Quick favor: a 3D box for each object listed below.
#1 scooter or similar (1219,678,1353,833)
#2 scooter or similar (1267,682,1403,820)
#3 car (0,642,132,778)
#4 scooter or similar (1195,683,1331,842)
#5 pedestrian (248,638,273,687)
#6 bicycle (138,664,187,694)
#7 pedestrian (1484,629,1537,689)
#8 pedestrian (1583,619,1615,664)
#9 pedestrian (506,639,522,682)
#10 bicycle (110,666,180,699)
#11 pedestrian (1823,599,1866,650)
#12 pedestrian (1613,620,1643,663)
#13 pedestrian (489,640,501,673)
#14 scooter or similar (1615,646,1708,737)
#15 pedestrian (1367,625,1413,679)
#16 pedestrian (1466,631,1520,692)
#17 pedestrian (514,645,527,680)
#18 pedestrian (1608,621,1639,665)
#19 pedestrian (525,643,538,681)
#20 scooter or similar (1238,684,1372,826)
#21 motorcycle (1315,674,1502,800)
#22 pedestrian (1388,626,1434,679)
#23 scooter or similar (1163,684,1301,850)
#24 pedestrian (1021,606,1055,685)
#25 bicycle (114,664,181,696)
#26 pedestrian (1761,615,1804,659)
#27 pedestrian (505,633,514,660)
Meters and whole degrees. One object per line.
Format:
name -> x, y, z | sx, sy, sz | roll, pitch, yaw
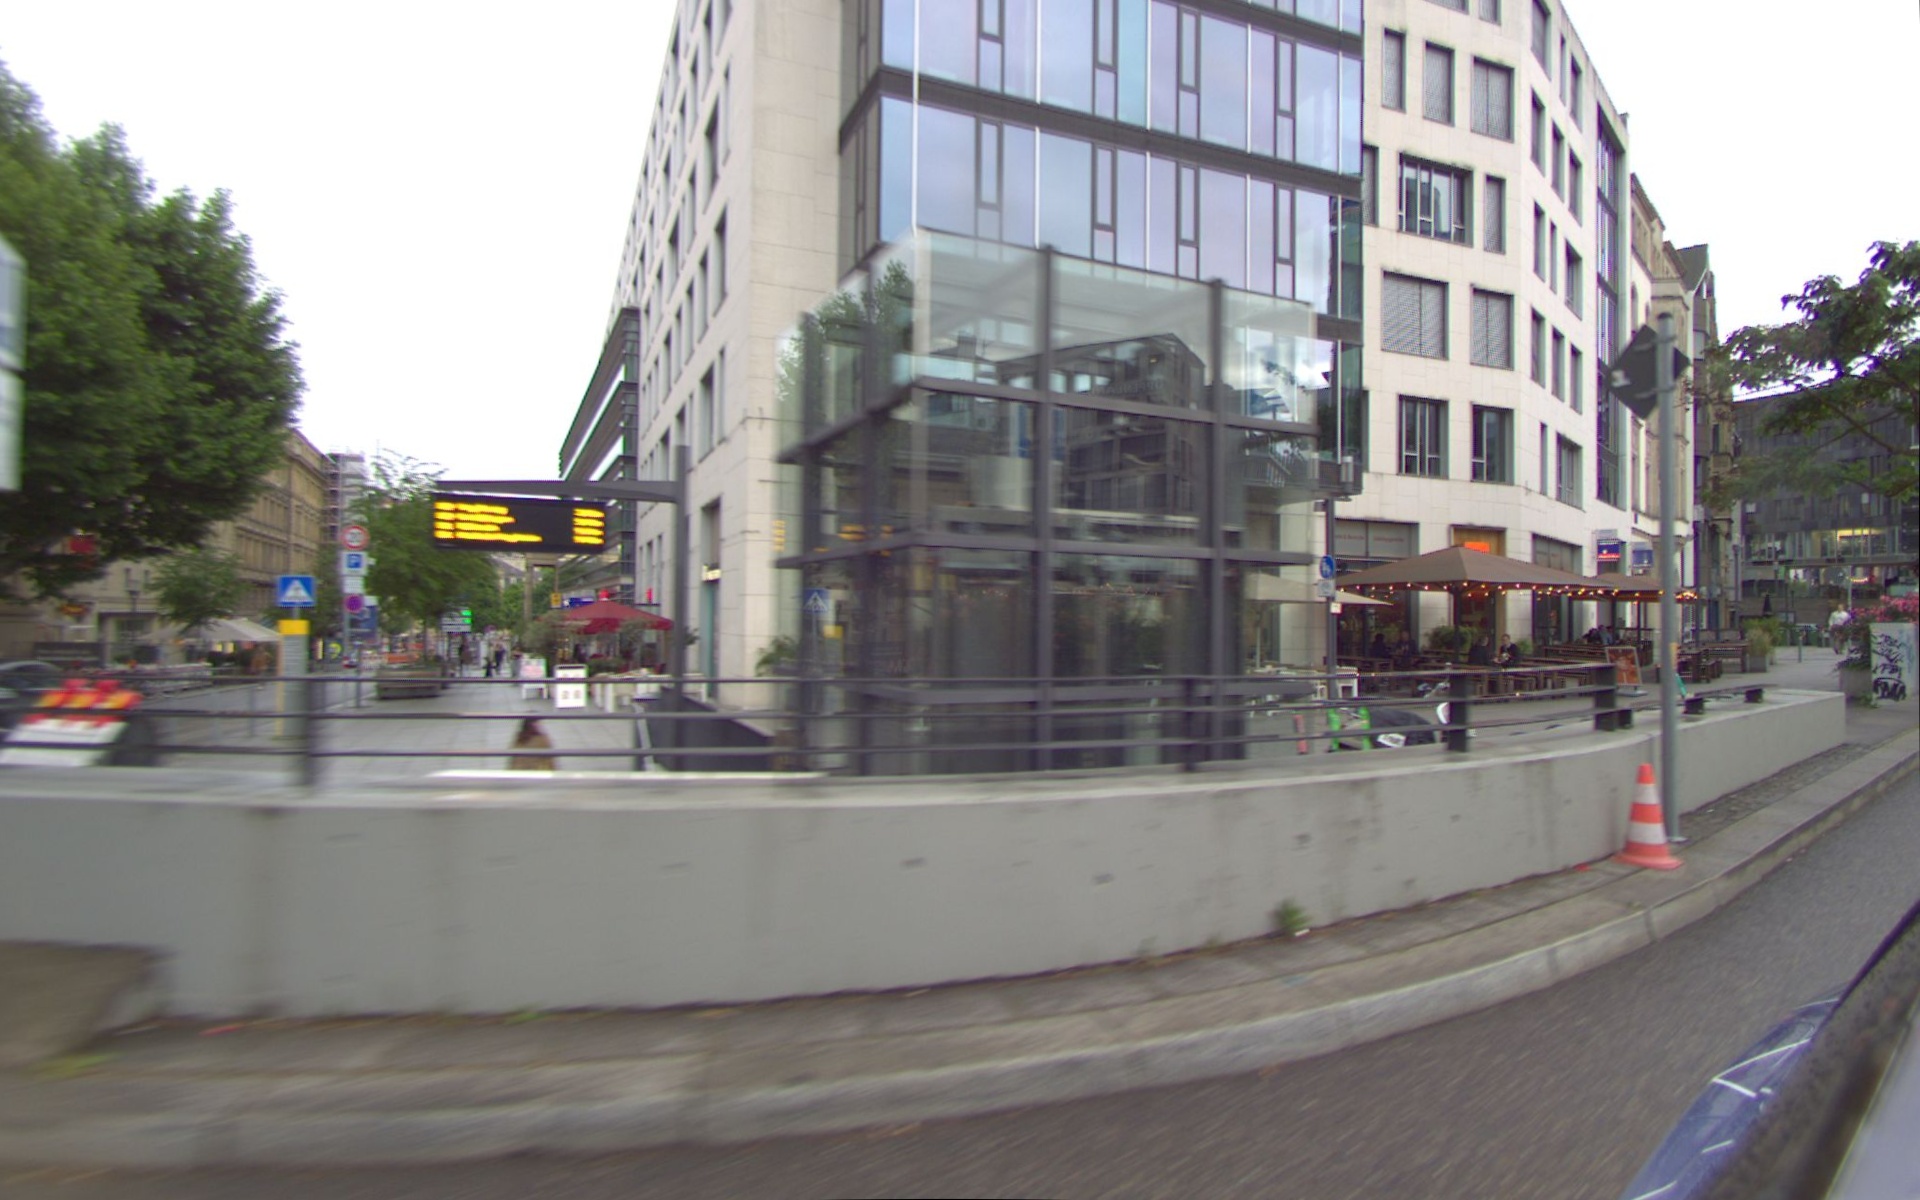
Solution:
scooter or similar -> 2.919, 1.360, 9.137 | 0.358, 1.253, 1.115 | 1, -2, -39
scooter or similar -> 3.613, 1.422, 9.800 | 0.522, 1.173, 1.115 | 1, -2, -40
car -> -14.175, 1.517, 14.700 | 1.963, 1.713, 4.758 | 0, -2, -22
scooter or similar -> 2.630, 1.379, 8.856 | 0.358, 1.232, 1.115 | 1, -2, -39
pedestrian -> -30.038, 2.681, 43.473 | 0.761, 2.040, 0.782 | 0, -2, -27
bicycle -> -27.731, 2.746, 35.221 | 1.258, 0.997, 0.459 | 0, -2, -26
pedestrian -> 12.813, 1.372, 23.574 | 0.623, 1.344, 0.820 | 0, -3, -26
pedestrian -> 19.280, 1.250, 30.542 | 0.626, 1.344, 0.625 | -4, -4, 44
pedestrian -> -18.172, 2.452, 41.247 | 0.560, 1.723, 0.560 | 0, 0, -25
bicycle -> -27.039, 2.725, 33.600 | 1.720, 0.997, 0.523 | 0, -2, -26
pedestrian -> 33.211, 0.909, 38.016 | 1.226, 1.861, 0.874 | -1, -3, -36
pedestrian -> 21.043, 1.310, 31.881 | 0.626, 1.344, 0.625 | -4, -4, 44
pedestrian -> -25.457, 3.099, 55.418 | 0.560, 1.723, 0.560 | 0, 0, -25
scooter or similar -> 10.550, 1.352, 15.228 | 1.088, 1.288, 0.474 | -2, -2, 40
pedestrian -> 10.959, 1.331, 25.826 | 0.623, 1.344, 0.820 | 0, -3, -26
pedestrian -> 12.124, 1.383, 23.051 | 0.623, 1.344, 0.820 | 0, -3, -26
pedestrian -> -22.847, 3.242, 52.607 | 0.560, 1.723, 0.560 | 0, 0, -25
pedestrian -> 20.508, 1.321, 31.291 | 0.626, 1.344, 0.625 | -4, -4, 44
pedestrian -> -20.313, 2.921, 47.957 | 0.560, 1.723, 0.560 | 0, 0, -25
scooter or similar -> 3.218, 1.412, 9.490 | 0.435, 1.173, 1.115 | 1, -2, -39
motorcycle -> 4.870, 1.448, 11.098 | 0.596, 1.173, 1.780 | 1, -2, -39
pedestrian -> 11.651, 1.357, 26.150 | 0.623, 1.344, 0.820 | 0, -3, -26
scooter or similar -> 2.289, 1.372, 8.605 | 0.358, 1.250, 1.115 | 1, -2, -39
pedestrian -> 1.929, 1.108, 25.032 | 0.575, 1.918, 0.642 | 0, 0, -33
bicycle -> -27.754, 2.723, 34.597 | 1.720, 0.997, 0.523 | 0, -2, -26
pedestrian -> 25.703, 1.147, 31.620 | 0.623, 1.344, 0.777 | 0, -3, -26
pedestrian -> -29.667, 3.034, 66.643 | 0.560, 1.723, 0.560 | 0, 0, -25
